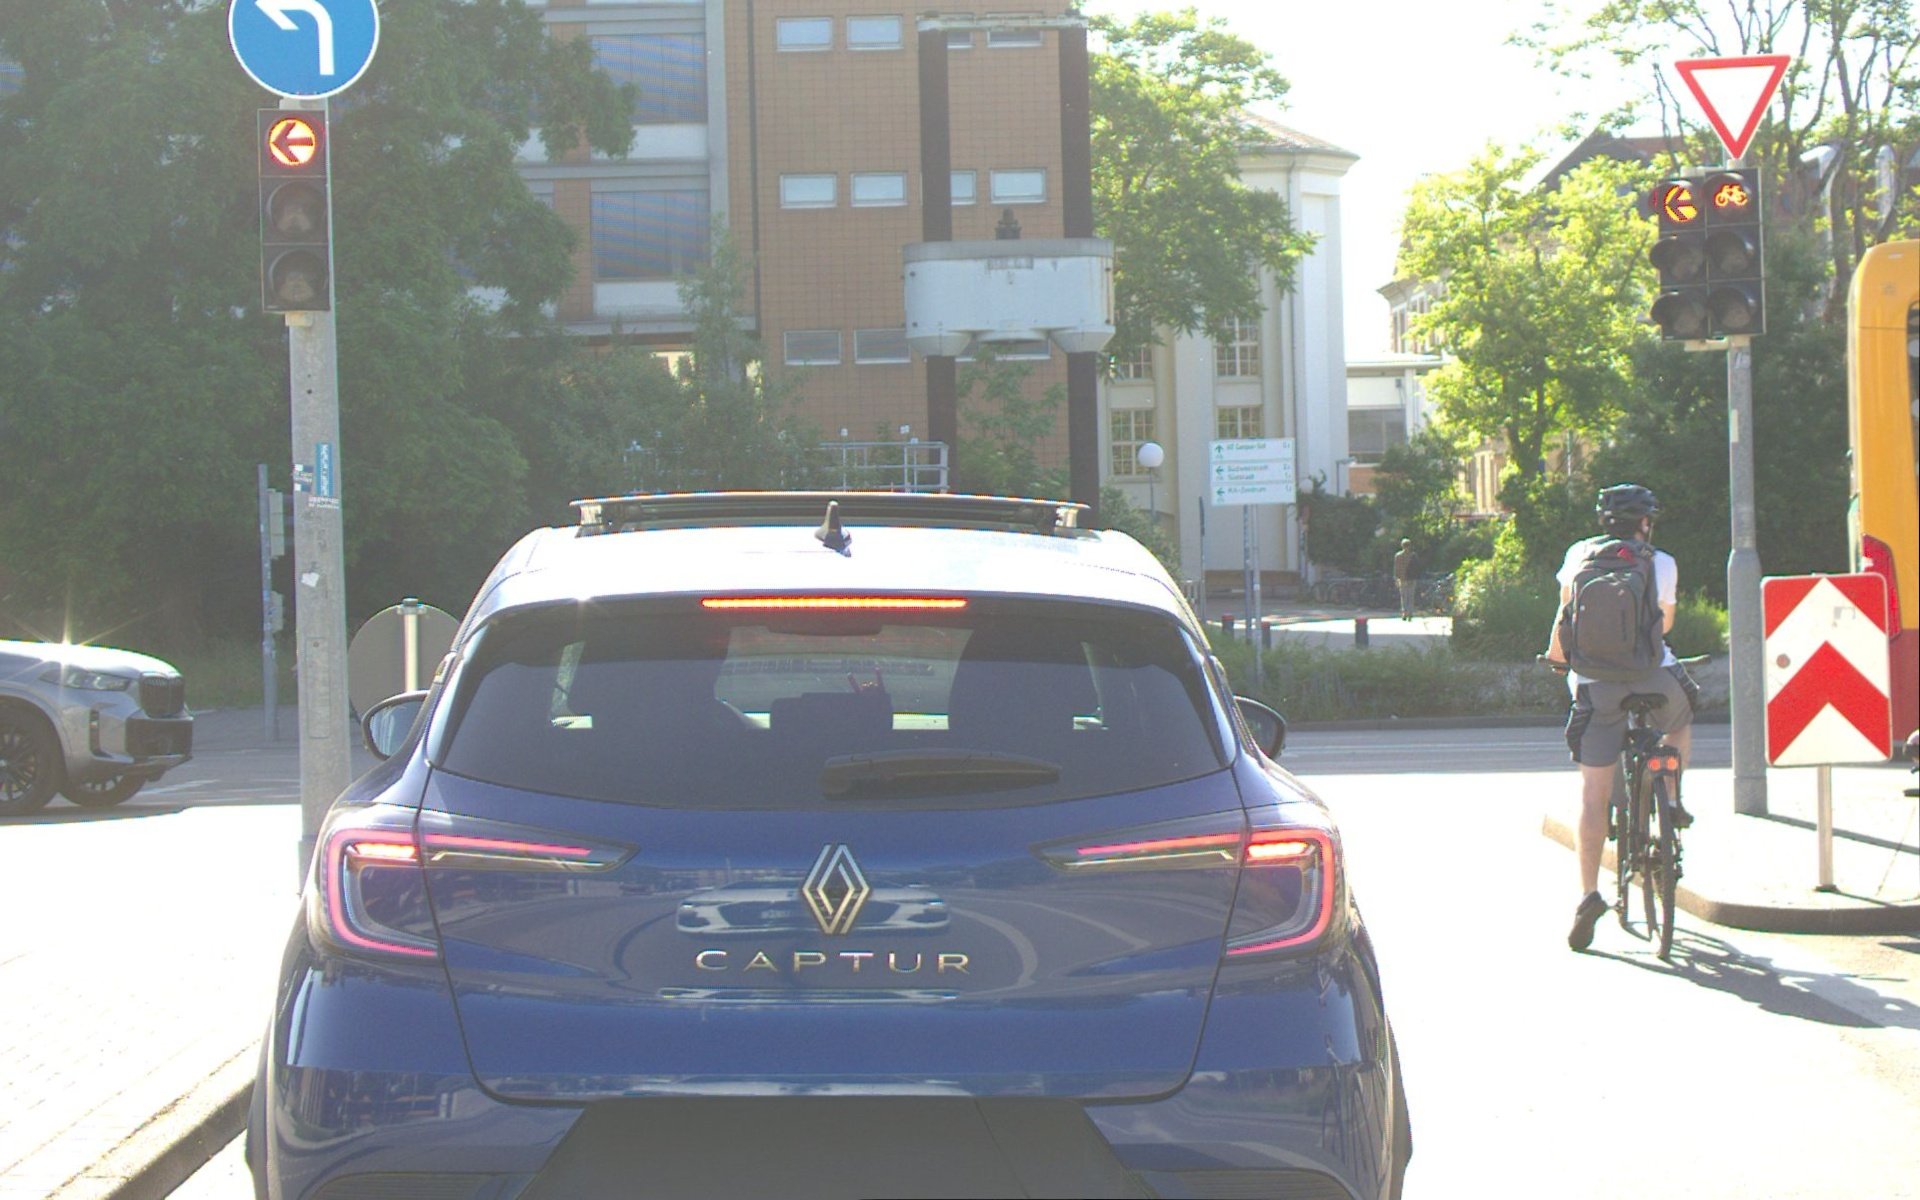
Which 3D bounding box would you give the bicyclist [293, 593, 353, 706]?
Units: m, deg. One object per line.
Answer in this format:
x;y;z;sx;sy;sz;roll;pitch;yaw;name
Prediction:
-8.116;0.635;43.802;0.647;1.407;0.639;-1;-2;-16;bicyclist

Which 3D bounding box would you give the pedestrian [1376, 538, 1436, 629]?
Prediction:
10.006;-0.369;77.159;1.156;2.007;1.164;-1;1;0;pedestrian

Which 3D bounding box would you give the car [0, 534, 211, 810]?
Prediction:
-7.979;0.511;24.497;4.728;1.854;2.004;-1;1;8;car

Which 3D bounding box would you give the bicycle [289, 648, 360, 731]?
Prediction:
-8.105;1.149;43.781;0.698;1.004;1.868;-2;-2;-16;bicycle

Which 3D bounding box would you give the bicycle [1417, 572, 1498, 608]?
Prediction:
12.026;-0.241;83.045;1.770;0.820;0.766;-1;1;-10;bicycle

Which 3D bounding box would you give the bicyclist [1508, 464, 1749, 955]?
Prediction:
2.506;0.396;12.974;0.676;1.779;0.940;1;0;-2;bicyclist

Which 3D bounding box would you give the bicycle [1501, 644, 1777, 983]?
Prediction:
2.519;0.760;12.939;0.615;1.134;1.826;0;1;-2;bicycle

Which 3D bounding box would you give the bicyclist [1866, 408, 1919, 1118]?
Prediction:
2.479;0.367;7.495;0.674;1.577;1.081;1;1;-1;bicyclist

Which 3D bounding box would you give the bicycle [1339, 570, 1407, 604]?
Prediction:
11.395;-0.354;94.847;1.771;0.895;0.765;-1;1;0;bicycle

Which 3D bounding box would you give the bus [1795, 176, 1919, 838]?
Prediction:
10.984;-0.618;18.742;12.430;3.558;3.248;-1;1;13;bus

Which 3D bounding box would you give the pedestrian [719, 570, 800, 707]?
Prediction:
-2.761;0.520;47.346;0.932;1.849;0.807;-1;1;9;pedestrian

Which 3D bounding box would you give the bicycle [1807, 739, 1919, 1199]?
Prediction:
2.470;0.883;7.605;0.671;1.047;1.844;1;1;-2;bicycle

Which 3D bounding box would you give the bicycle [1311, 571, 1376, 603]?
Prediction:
11.056;-0.385;99.211;1.771;0.890;0.765;-1;1;0;bicycle

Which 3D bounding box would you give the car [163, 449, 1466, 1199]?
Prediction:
-0.252;0.586;6.685;1.794;1.649;3.853;0;1;-2;car
